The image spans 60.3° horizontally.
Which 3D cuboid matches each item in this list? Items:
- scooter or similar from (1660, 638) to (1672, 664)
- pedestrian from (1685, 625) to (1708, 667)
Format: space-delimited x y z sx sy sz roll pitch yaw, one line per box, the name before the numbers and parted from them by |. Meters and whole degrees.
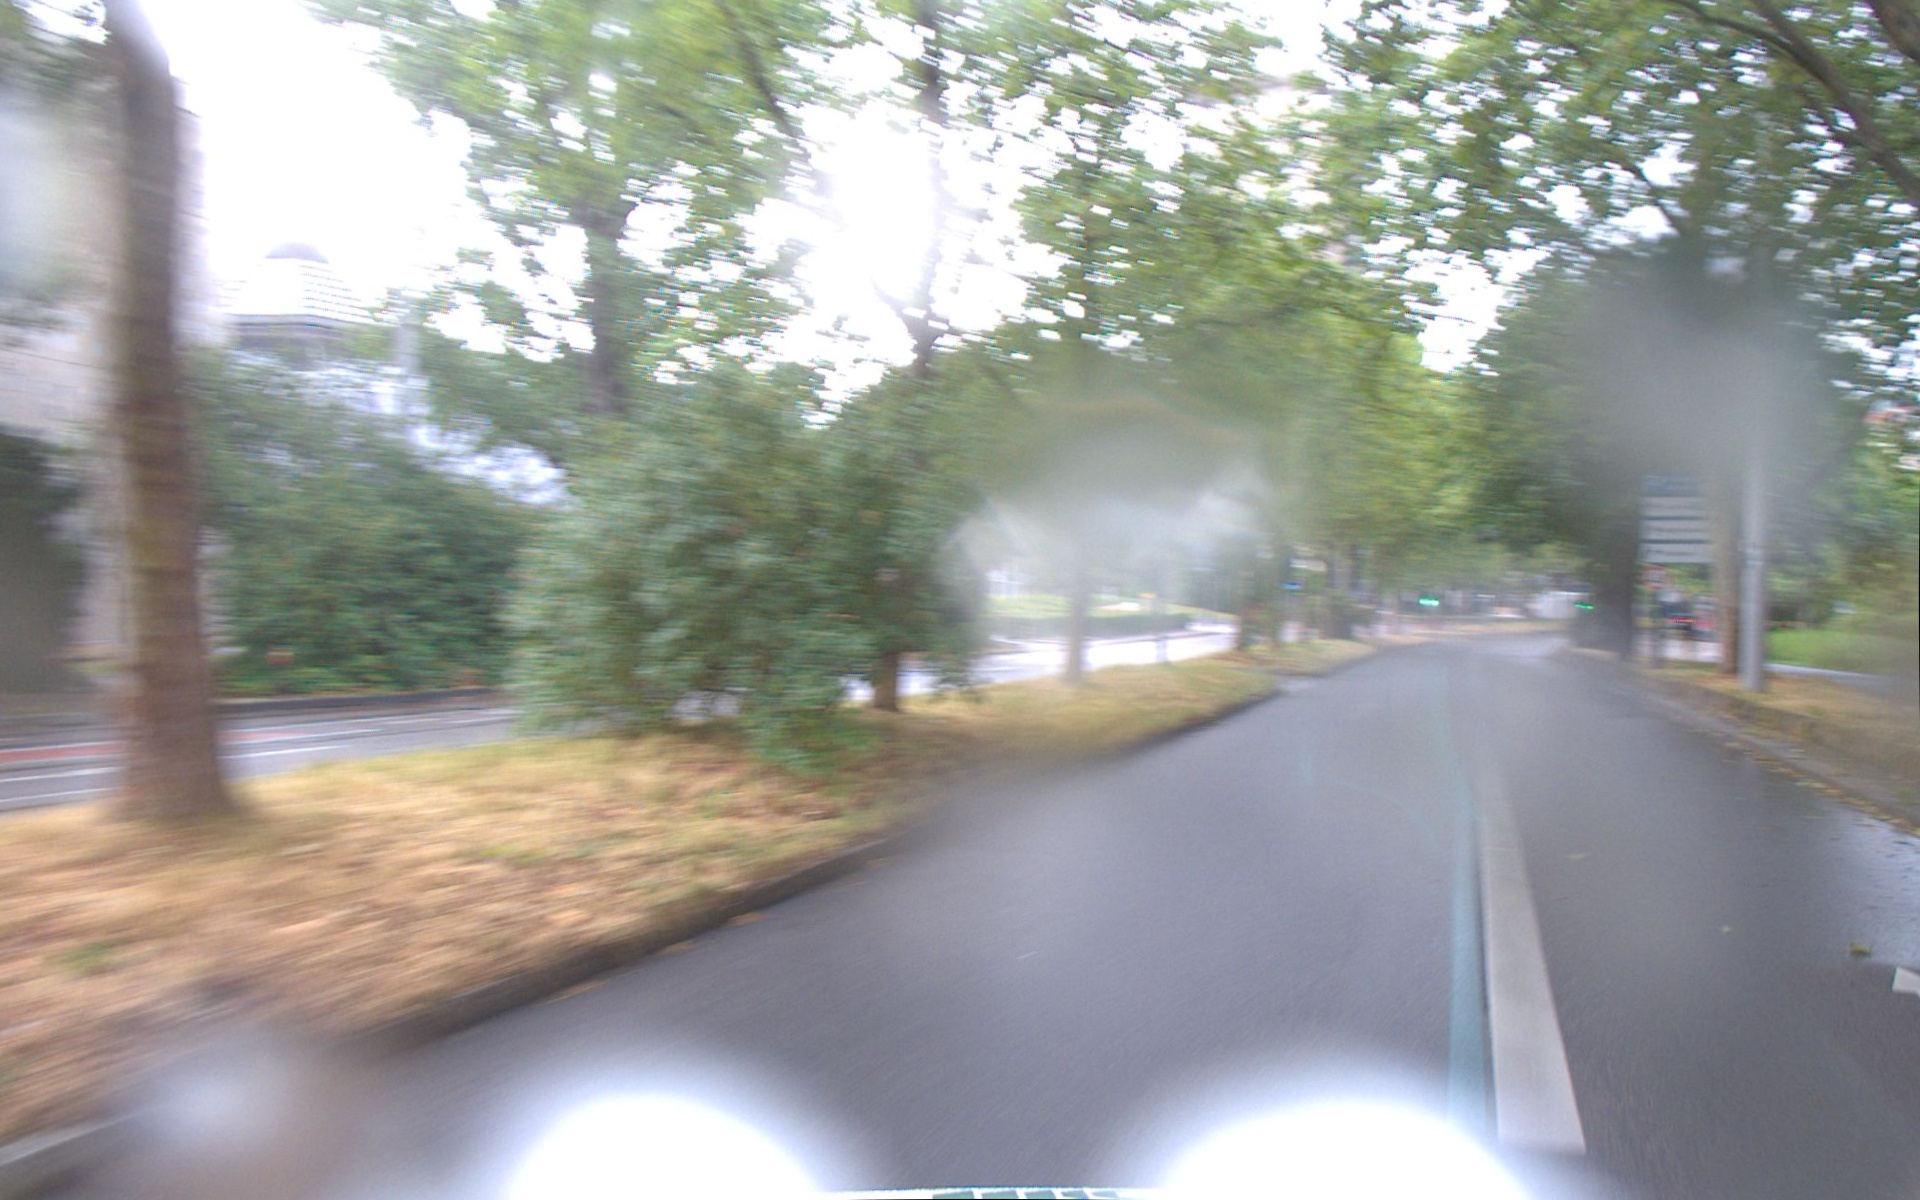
scooter or similar | 29.660 2.133 69.500 0.286 1.043 1.066 1 0 16
pedestrian | 29.574 1.843 66.463 0.688 1.667 0.935 1 0 16
